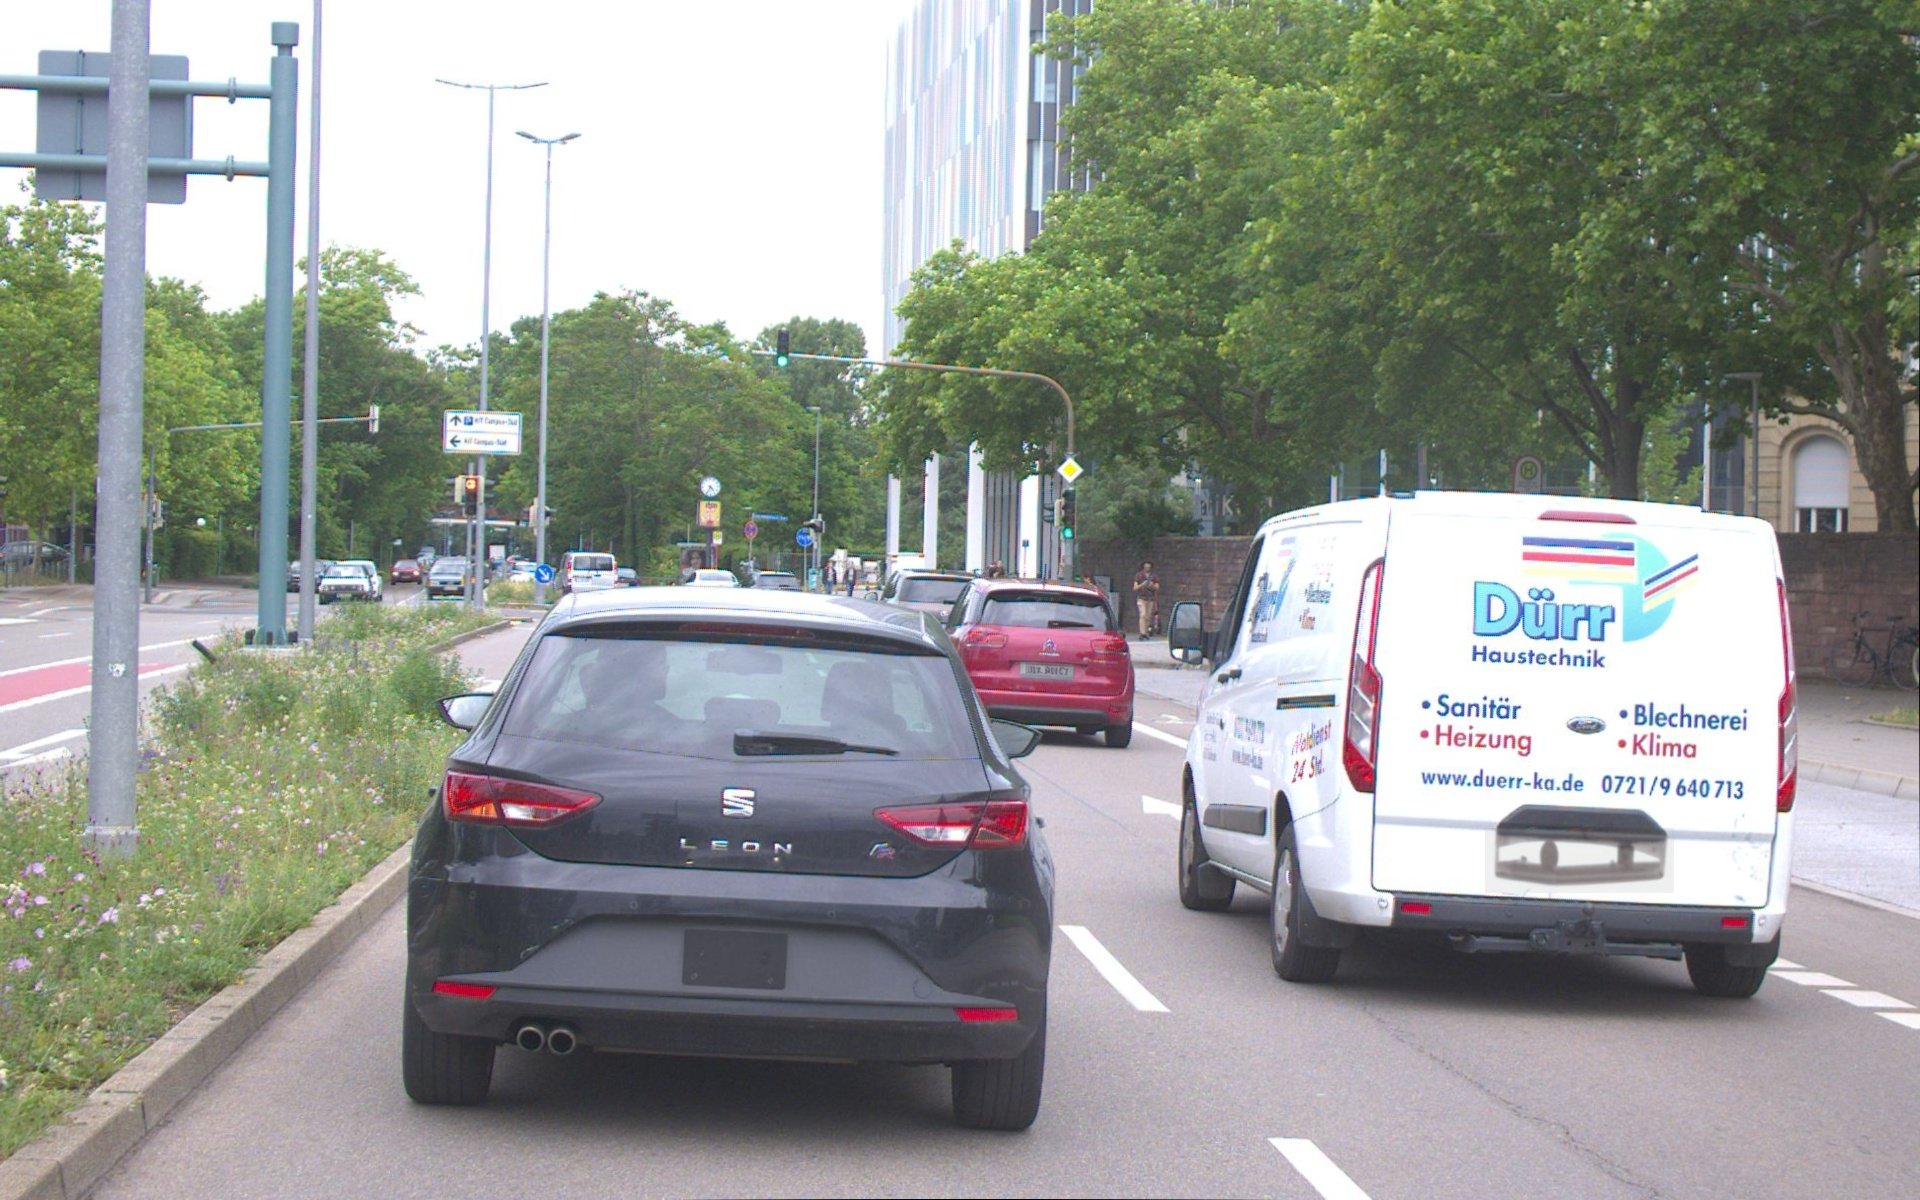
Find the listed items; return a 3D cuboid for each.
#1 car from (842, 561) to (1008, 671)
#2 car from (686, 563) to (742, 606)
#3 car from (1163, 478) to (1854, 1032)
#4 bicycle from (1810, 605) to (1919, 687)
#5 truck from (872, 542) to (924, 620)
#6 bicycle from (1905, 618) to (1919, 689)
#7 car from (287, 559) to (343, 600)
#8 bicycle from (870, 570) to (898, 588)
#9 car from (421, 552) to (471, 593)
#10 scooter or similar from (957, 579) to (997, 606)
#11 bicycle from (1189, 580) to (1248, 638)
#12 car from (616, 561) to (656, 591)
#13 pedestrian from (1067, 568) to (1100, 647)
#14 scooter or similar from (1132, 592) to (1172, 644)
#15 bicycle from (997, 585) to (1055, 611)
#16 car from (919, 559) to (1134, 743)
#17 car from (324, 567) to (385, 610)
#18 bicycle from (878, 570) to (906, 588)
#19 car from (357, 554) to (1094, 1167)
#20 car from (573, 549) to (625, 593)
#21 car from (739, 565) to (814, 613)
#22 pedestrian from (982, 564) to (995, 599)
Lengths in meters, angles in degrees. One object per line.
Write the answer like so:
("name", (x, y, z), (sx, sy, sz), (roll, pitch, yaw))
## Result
("car", (-0.599, 0.220, 54.523), (1.914, 1.658, 4.116), (0, 1, -11))
("car", (-8.158, -0.517, 113.808), (1.615, 1.349, 4.001), (0, 1, -7))
("car", (2.181, 0.555, 15.007), (1.966, 1.965, 4.344), (3, 0, -4))
("bicycle", (12.808, 0.630, 48.016), (0.718, 1.096, 1.792), (0, 1, -33))
("truck", (-1.807, -0.583, 100.258), (1.317, 2.236, 3.402), (0, 1, -4))
("bicycle", (13.540, 0.739, 46.245), (0.653, 0.948, 1.771), (0, 1, -22))
("car", (-27.779, -0.888, 148.145), (1.906, 1.711, 4.001), (0, 1, -4))
("bicycle", (-3.831, -1.049, 172.370), (1.258, 0.845, 0.482), (4, -1, -26))
("car", (-18.963, -0.984, 126.755), (1.763, 1.455, 4.793), (0, 0, -9))
("scooter or similar", (0.710, -0.306, 141.858), (1.671, 1.103, 0.498), (0, 1, -35))
("bicycle", (5.486, 0.184, 73.003), (0.803, 1.170, 1.955), (-1, 1, -9))
("car", (-12.984, -0.972, 137.688), (1.505, 1.189, 3.164), (0, 1, -7))
("pedestrian", (2.712, 0.155, 75.596), (0.456, 1.733, 0.556), (-1, 1, -43))
("scooter or similar", (4.476, 0.412, 79.965), (0.432, 1.175, 1.702), (0, 1, 21))
("bicycle", (2.307, -0.071, 119.744), (1.886, 0.895, 0.697), (0, 1, -25))
("car", (0.641, 0.463, 34.408), (1.949, 1.618, 3.749), (3, 1, 0))
("car", (-20.142, -0.397, 114.432), (1.607, 1.376, 3.809), (0, 1, -4))
("bicycle", (-3.361, -1.039, 169.957), (1.234, 0.820, 0.482), (4, -1, -26))
("car", (-0.590, 0.645, 10.382), (1.753, 1.427, 3.769), (3, 0, 0))
("car", (-12.727, -1.027, 121.132), (1.695, 1.498, 4.011), (0, 1, -7))
("car", (-5.371, -0.326, 100.353), (1.898, 1.349, 3.883), (0, 1, -7))
("pedestrian", (1.099, -0.718, 132.234), (0.472, 1.357, 0.445), (0, 1, 6))
